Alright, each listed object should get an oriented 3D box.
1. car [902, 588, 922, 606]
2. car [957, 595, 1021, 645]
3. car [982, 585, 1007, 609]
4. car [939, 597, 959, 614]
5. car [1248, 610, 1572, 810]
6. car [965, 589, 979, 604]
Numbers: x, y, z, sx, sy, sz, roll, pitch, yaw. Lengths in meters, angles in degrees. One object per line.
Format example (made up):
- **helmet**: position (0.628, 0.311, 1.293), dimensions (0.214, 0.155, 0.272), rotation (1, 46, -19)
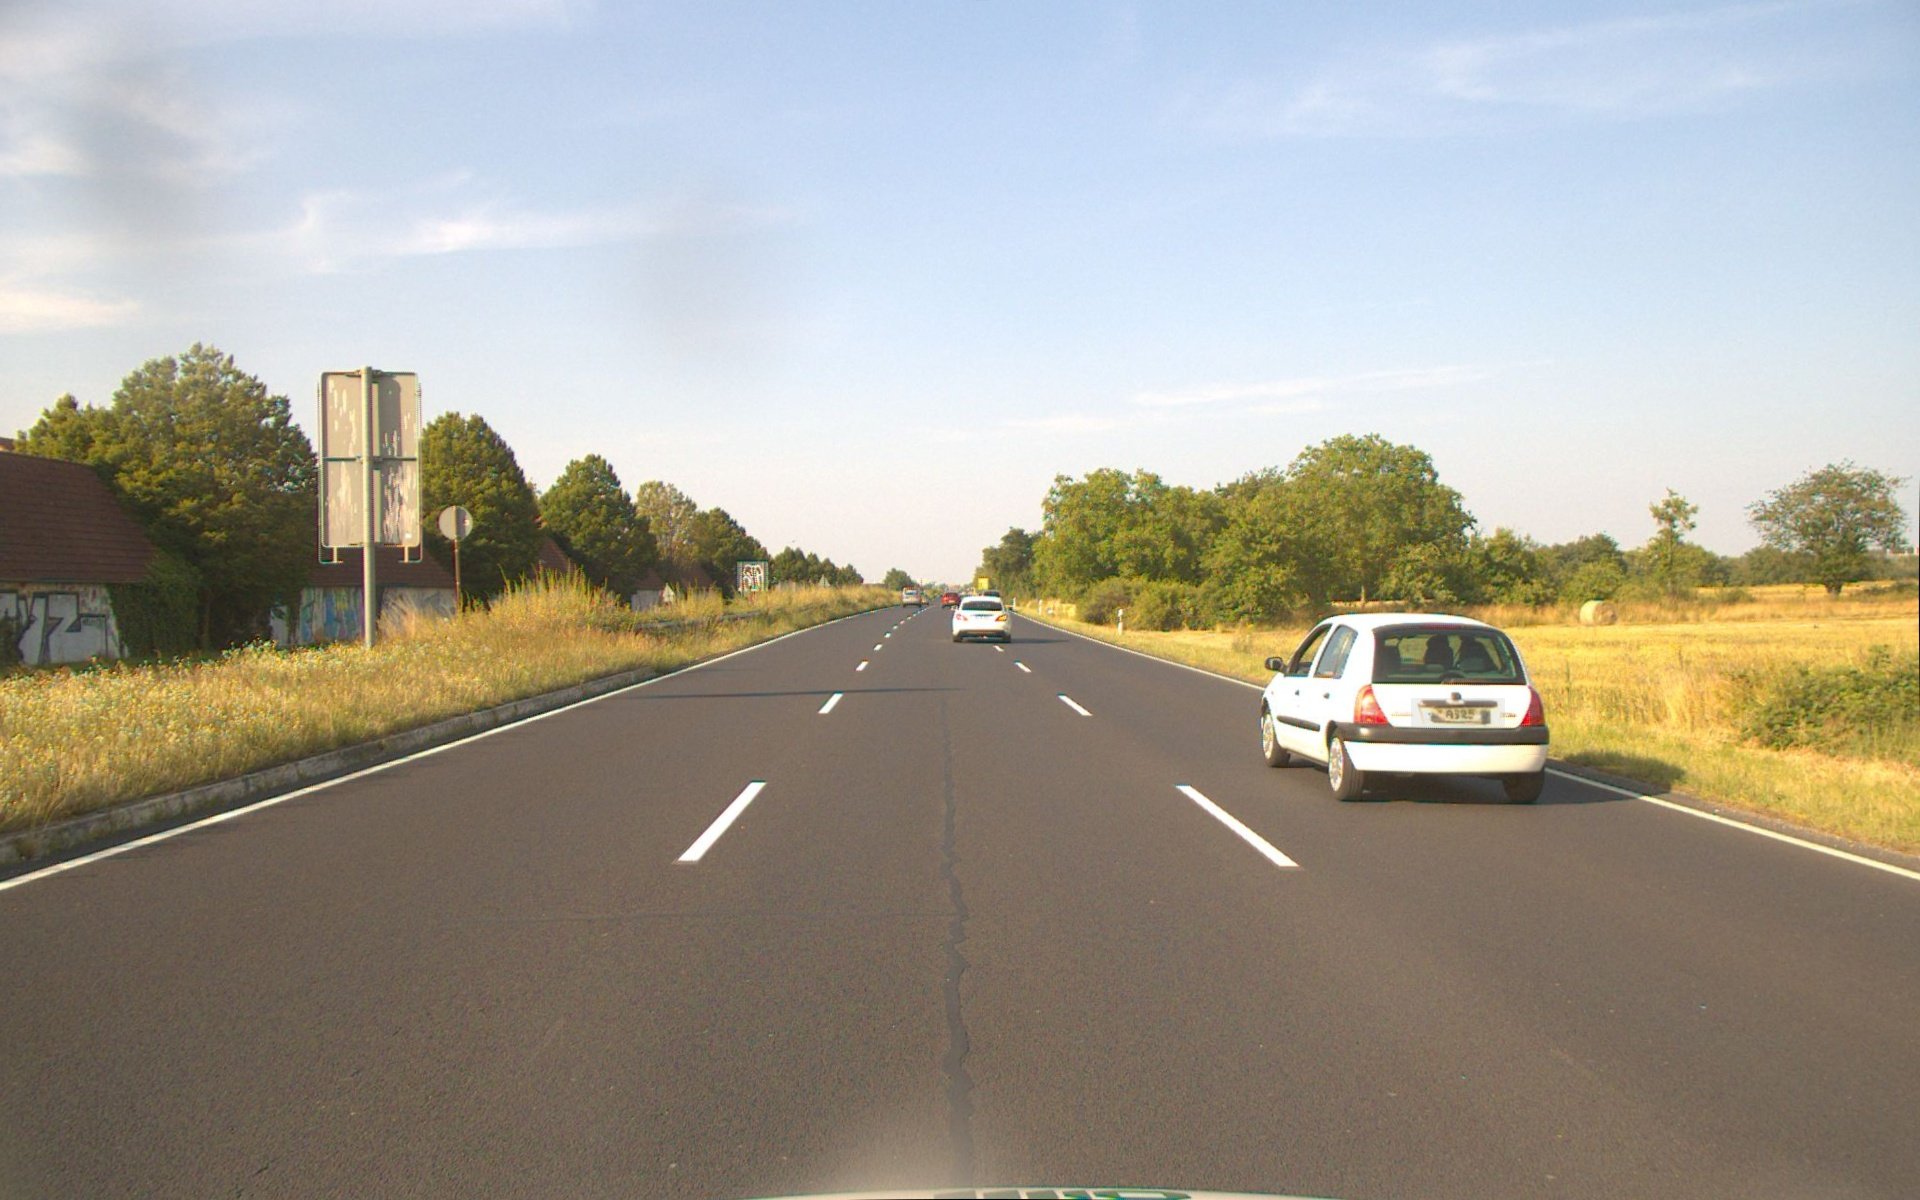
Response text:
- **car**: position (-4.686, -0.273, 160.888), dimensions (1.722, 1.646, 4.001), rotation (1, -1, 2)
- **car**: position (0.889, 0.633, 53.220), dimensions (1.953, 1.543, 3.999), rotation (1, -1, 0)
- **car**: position (2.676, -0.197, 127.715), dimensions (1.790, 1.758, 3.999), rotation (1, -1, -1)
- **car**: position (-0.985, 0.531, 151.873), dimensions (1.775, 1.461, 3.857), rotation (1, -1, -1)
- **car**: position (3.564, 0.804, 13.794), dimensions (1.584, 1.411, 3.950), rotation (1, -1, -1)
- **car**: position (1.574, -0.488, 216.835), dimensions (1.766, 1.937, 3.559), rotation (1, -1, 1)
